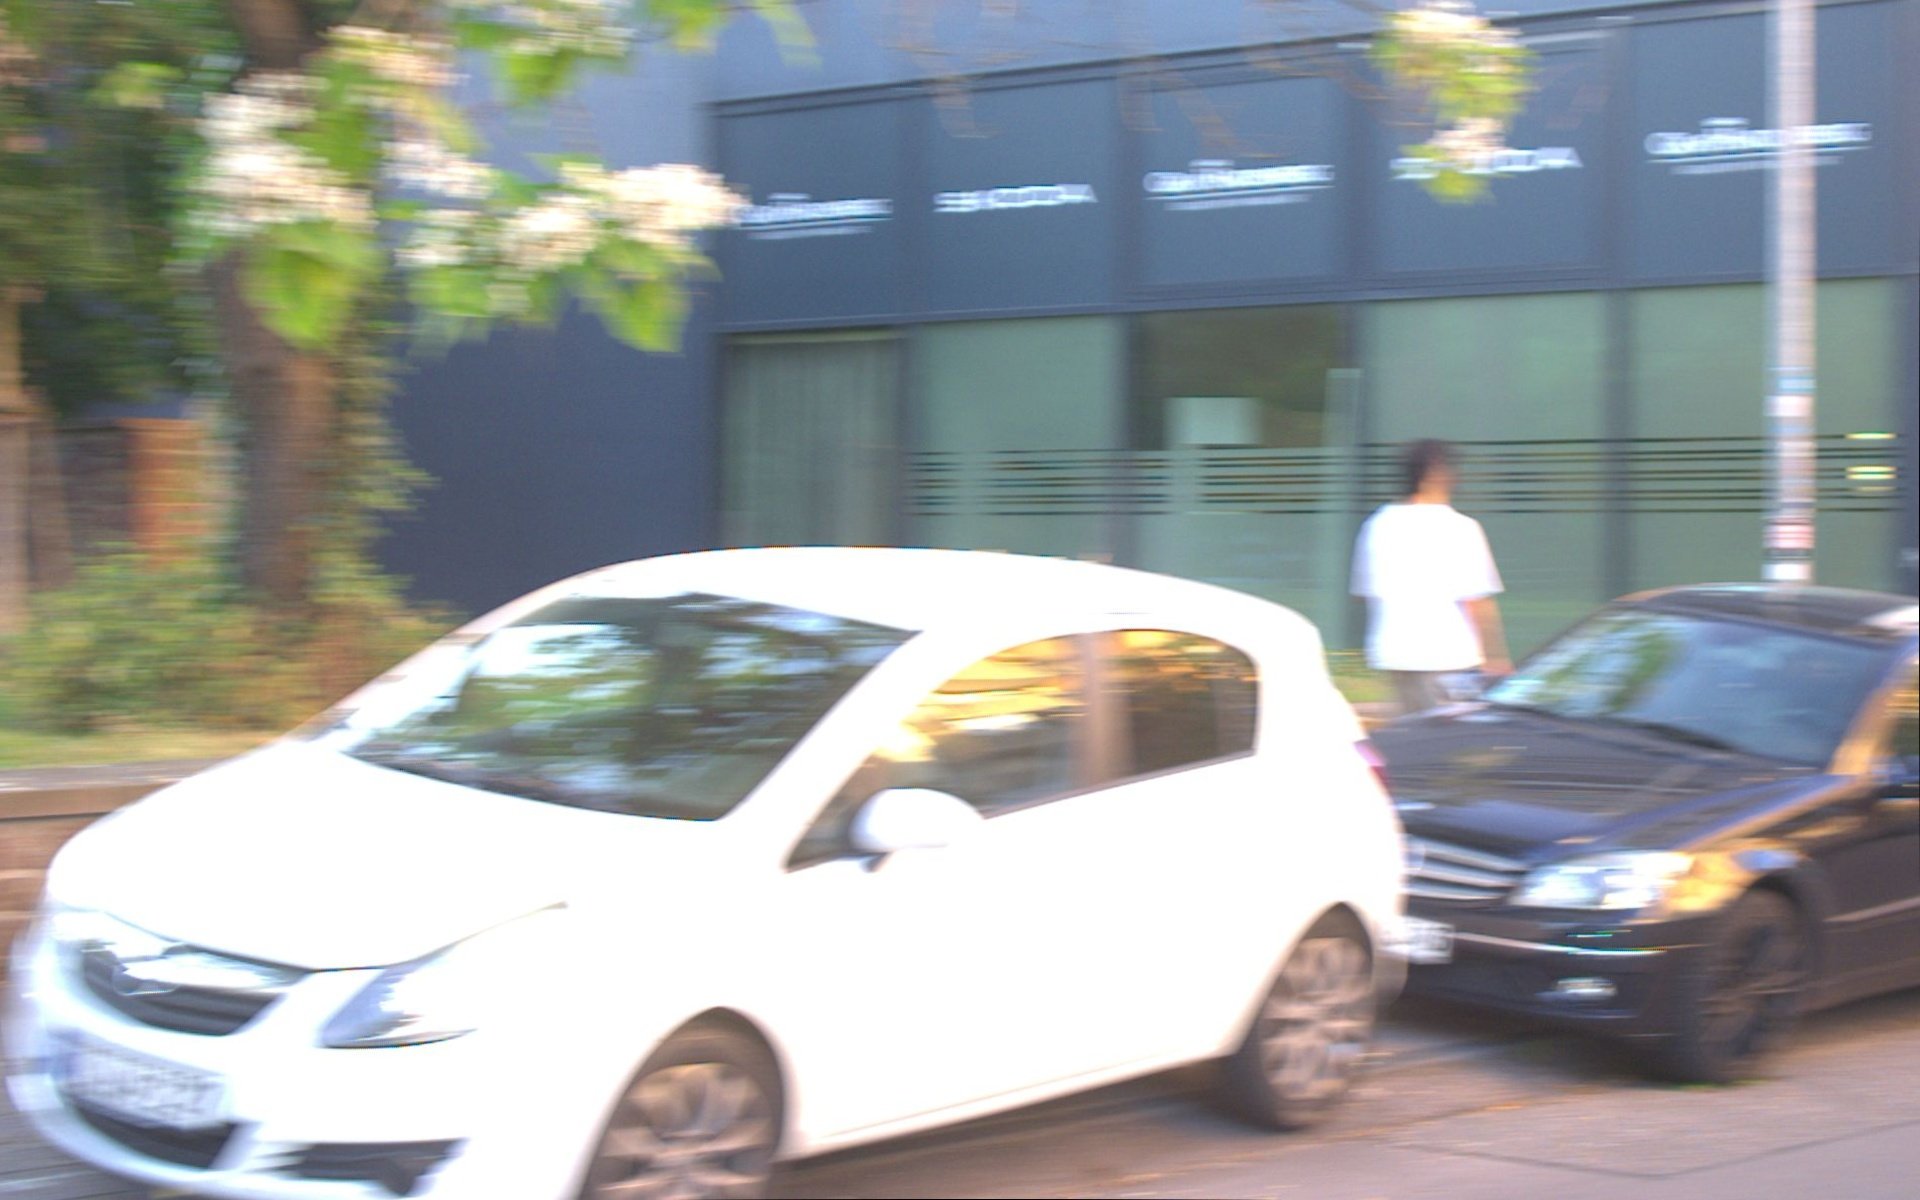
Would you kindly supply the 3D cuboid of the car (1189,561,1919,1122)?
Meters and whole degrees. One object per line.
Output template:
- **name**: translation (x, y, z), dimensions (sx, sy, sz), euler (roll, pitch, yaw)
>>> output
- **car**: translation (2.872, 0.659, 11.855), dimensions (1.666, 1.411, 4.403), euler (8, 6, 42)

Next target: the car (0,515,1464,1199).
- **car**: translation (-0.488, 0.592, 8.480), dimensions (1.665, 1.509, 3.876), euler (5, 4, 38)

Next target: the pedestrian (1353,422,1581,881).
- **pedestrian**: translation (2.135, 0.198, 14.482), dimensions (0.618, 1.872, 0.723), euler (-1, 2, -45)

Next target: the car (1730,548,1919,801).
- **car**: translation (7.135, 0.455, 24.203), dimensions (1.597, 1.644, 3.866), euler (1, 1, 43)

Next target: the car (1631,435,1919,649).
- **car**: translation (7.291, -0.480, 28.397), dimensions (1.702, 1.653, 3.728), euler (1, 1, 44)
